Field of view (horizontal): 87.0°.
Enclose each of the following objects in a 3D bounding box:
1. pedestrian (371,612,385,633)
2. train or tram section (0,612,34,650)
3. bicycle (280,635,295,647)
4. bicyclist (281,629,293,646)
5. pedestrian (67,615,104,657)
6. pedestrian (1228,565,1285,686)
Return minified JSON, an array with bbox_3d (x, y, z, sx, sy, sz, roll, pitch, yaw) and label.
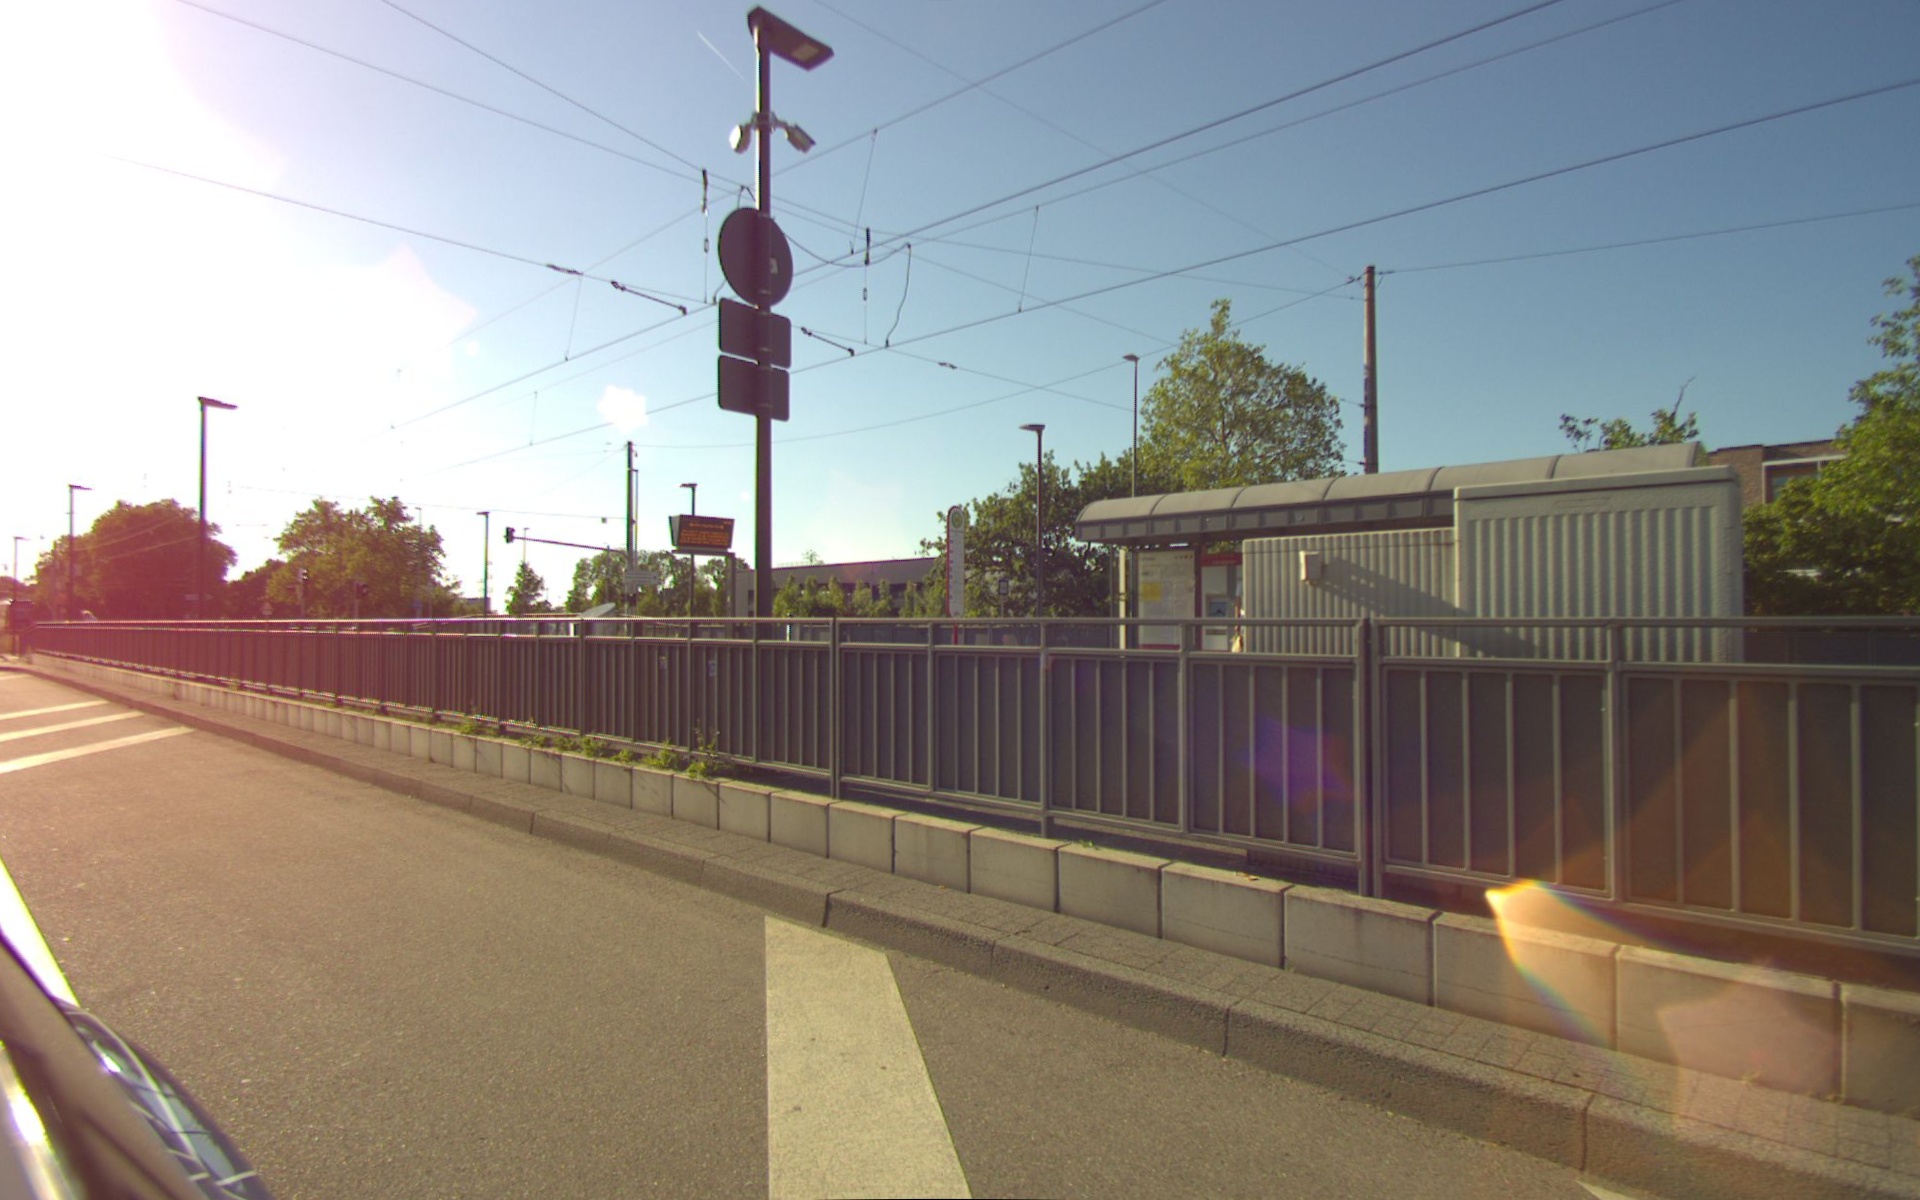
[{"bbox_3d":[-46.172,1.767,80.288,0.879,1.621,0.713,-1,-2,43],"label":"pedestrian"},{"bbox_3d":[-104.090,3.376,110.810,12.111,3.977,2.853,-1,-2,43],"label":"train or tram section"},{"bbox_3d":[-64.358,3.901,96.798,2.528,1.136,0.624,-1,-2,42],"label":"bicycle"},{"bbox_3d":[-64.361,3.585,96.820,0.835,1.629,0.760,-1,-2,43],"label":"bicyclist"},{"bbox_3d":[-35.116,1.457,40.638,0.984,1.657,0.882,-1,-2,32],"label":"pedestrian"},{"bbox_3d":[4.475,0.380,15.266,0.698,1.770,0.582,-1,-1,28],"label":"pedestrian"}]
